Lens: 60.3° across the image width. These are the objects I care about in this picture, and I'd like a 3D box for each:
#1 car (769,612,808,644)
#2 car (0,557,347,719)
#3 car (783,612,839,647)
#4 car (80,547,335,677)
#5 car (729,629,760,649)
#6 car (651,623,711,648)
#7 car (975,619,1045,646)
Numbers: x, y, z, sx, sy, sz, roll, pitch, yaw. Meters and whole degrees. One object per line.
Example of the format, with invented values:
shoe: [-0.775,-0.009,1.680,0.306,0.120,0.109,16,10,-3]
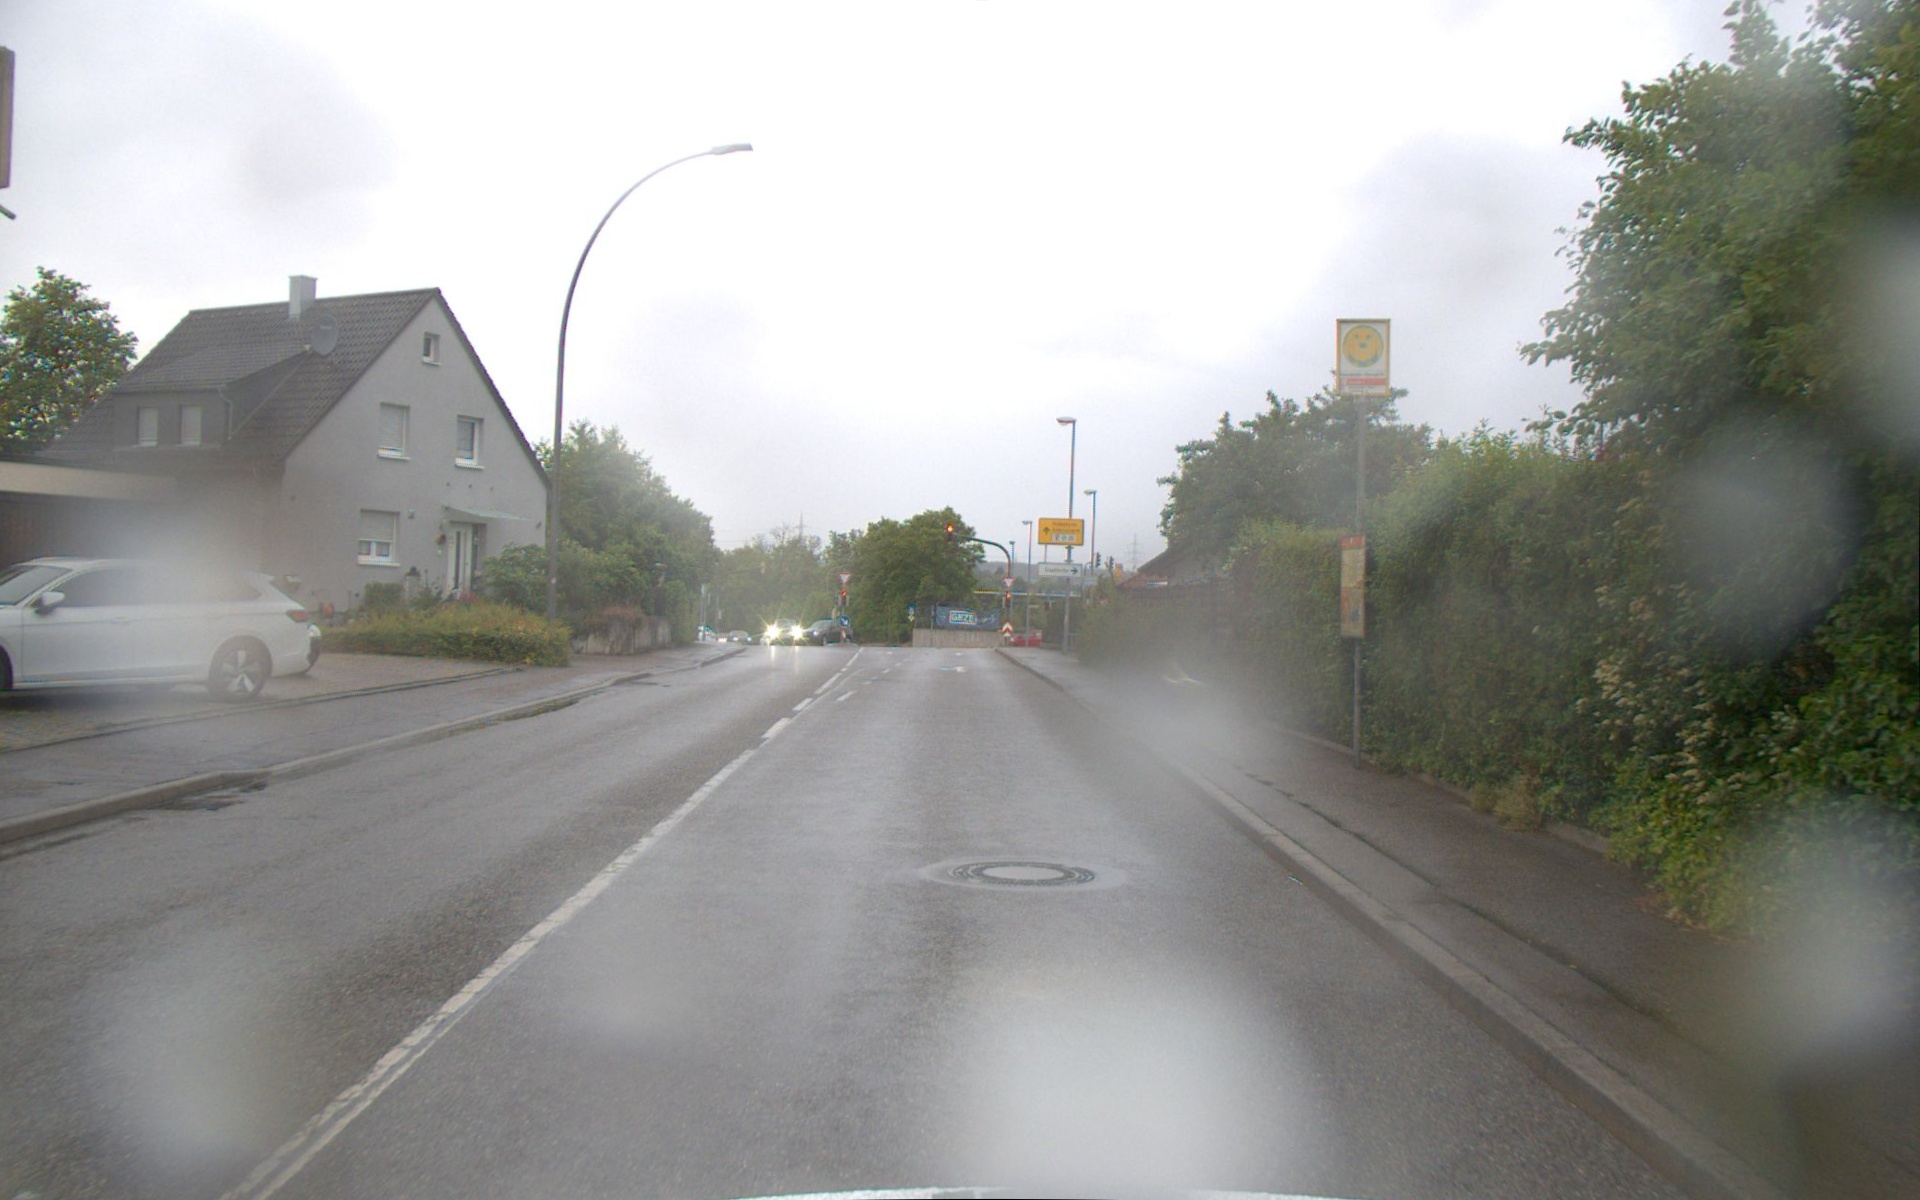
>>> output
car: [-9.155,1.473,88.314,1.769,1.550,3.998,2,0,-2]
car: [-9.121,0.346,17.384,1.867,1.502,4.869,3,1,32]
car: [-9.078,1.802,101.185,1.735,2.049,3.999,1,0,22]
car: [-10.696,0.150,23.441,3.702,1.534,1.694,4,0,38]
car: [-17.680,3.190,135.325,1.961,1.489,3.983,-1,0,-16]
car: [-20.556,2.601,121.777,3.903,1.646,1.945,1,2,16]
car: [3.615,2.307,118.338,4.640,1.720,2.307,-3,0,11]
